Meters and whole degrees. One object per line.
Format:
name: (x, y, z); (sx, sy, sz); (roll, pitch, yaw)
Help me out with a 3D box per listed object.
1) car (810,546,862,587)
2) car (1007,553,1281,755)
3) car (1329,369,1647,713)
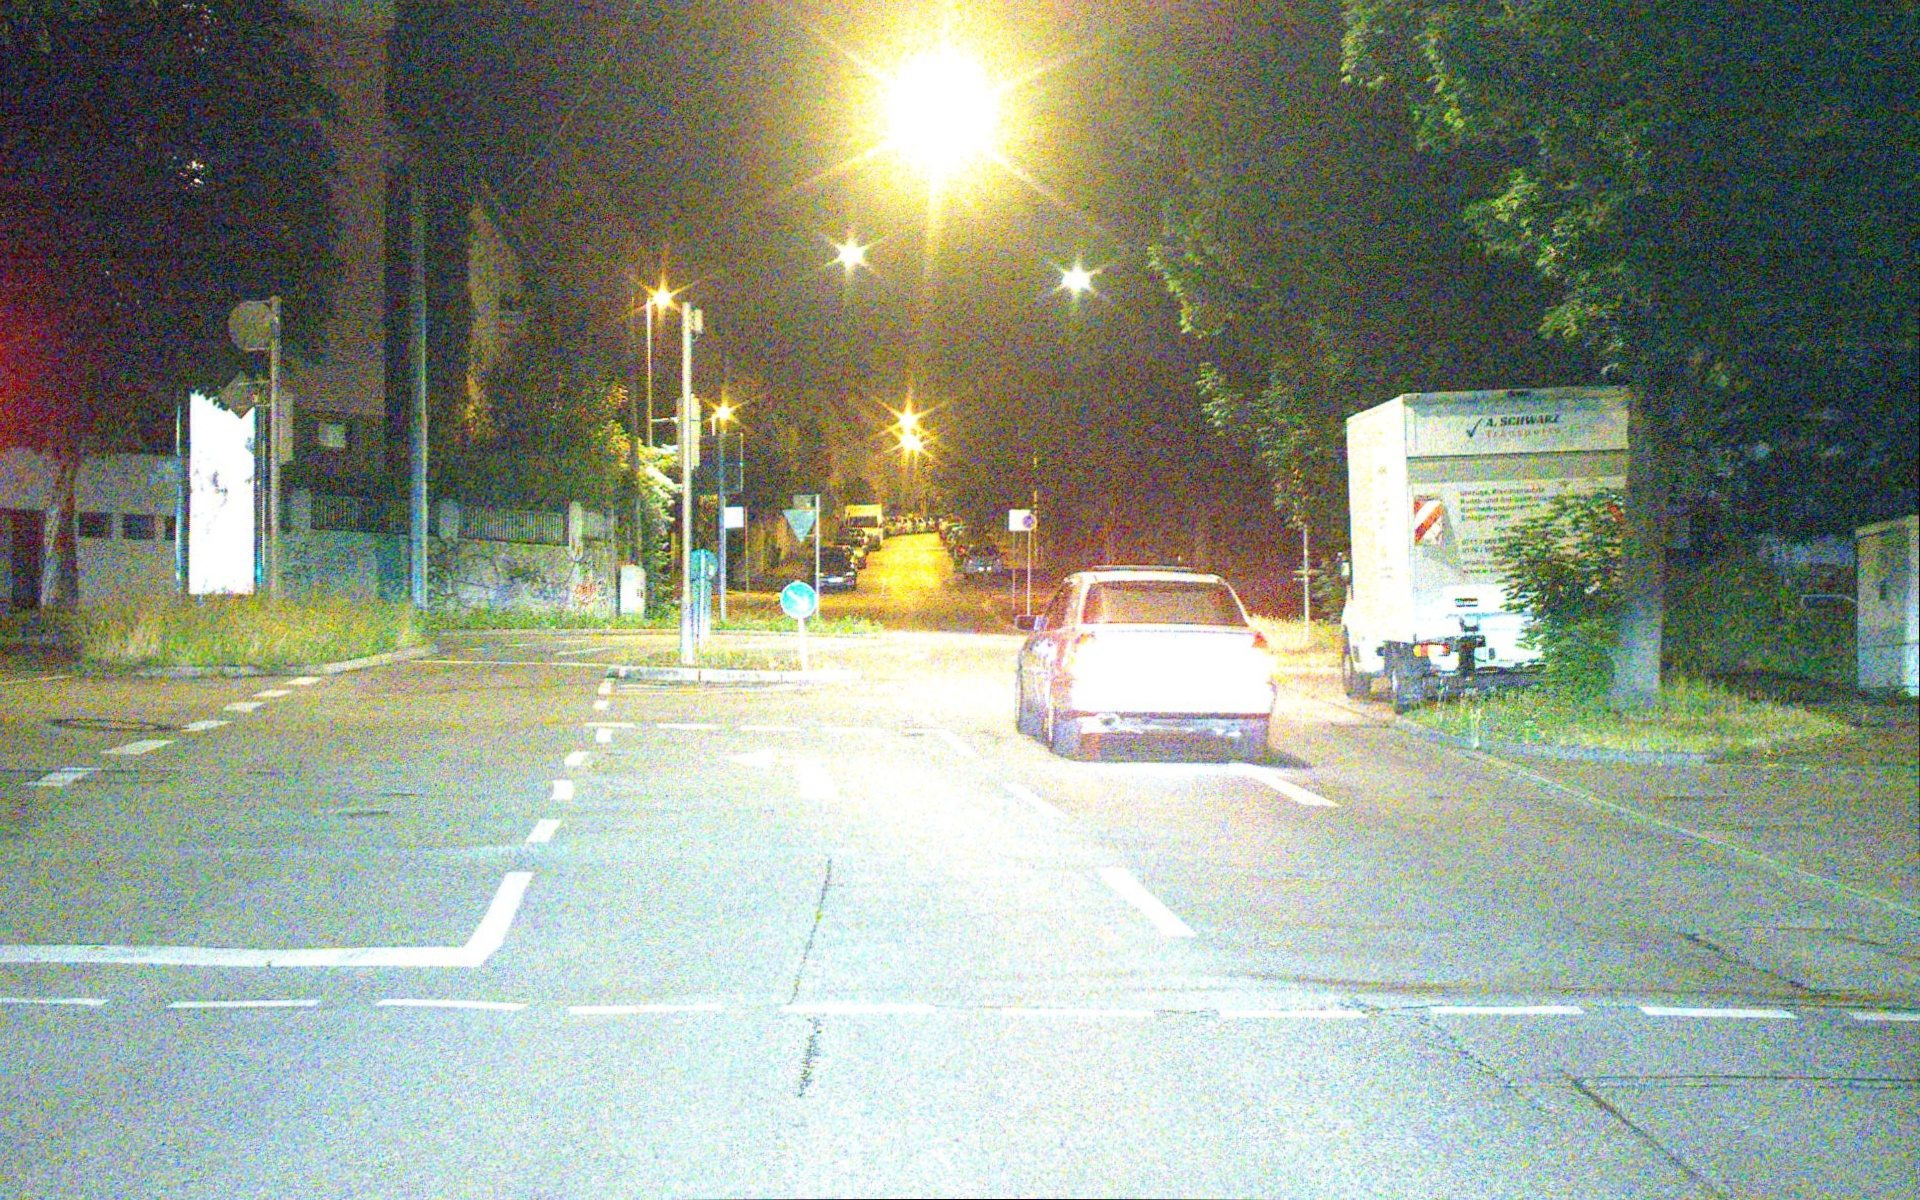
car: (-4.844, -1.304, 134.387); (1.908, 1.552, 3.904); (1, 1, -1)
car: (1.396, 0.380, 27.563); (1.776, 1.481, 4.000); (1, 1, -3)
car: (5.120, -0.571, 34.226); (2.297, 3.082, 5.840); (-1, 1, 1)
